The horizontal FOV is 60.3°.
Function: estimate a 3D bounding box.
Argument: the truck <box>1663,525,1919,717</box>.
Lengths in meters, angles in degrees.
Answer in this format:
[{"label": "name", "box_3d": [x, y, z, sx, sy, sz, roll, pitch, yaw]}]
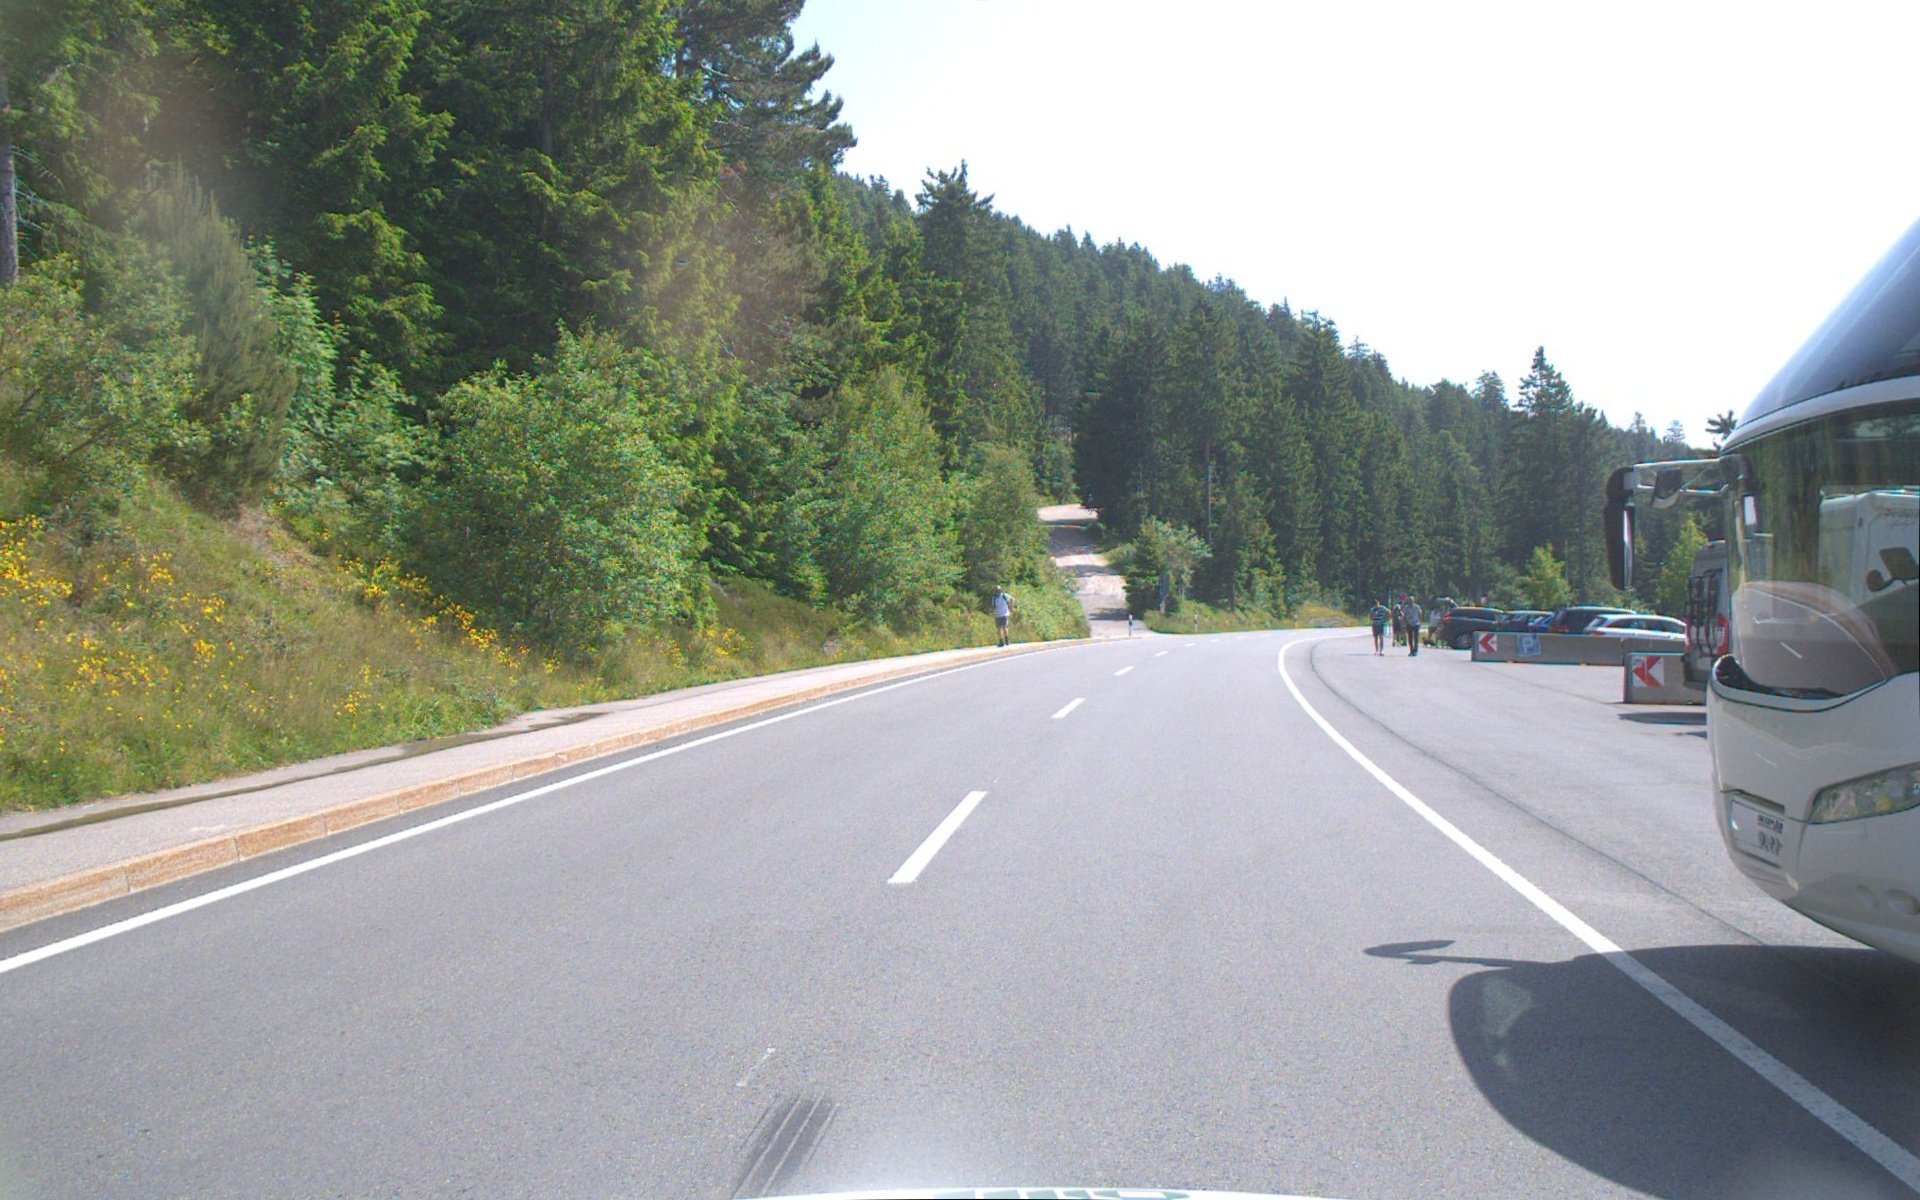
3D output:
[{"label": "truck", "box_3d": [13.662, 0.281, 23.853, 6.127, 2.636, 2.342, 0, 0, 10]}]

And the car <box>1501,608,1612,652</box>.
[{"label": "car", "box_3d": [22.643, 1.117, 62.861, 3.673, 1.595, 1.601, 1, 0, 4]}]

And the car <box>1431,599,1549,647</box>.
[{"label": "car", "box_3d": [21.036, 0.901, 65.778, 4.173, 1.825, 1.893, 1, 0, 8]}]

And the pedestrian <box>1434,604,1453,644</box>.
[{"label": "pedestrian", "box_3d": [20.088, 1.003, 68.703, 0.605, 1.615, 0.734, 0, 1, 30]}]

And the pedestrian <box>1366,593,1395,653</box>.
[{"label": "pedestrian", "box_3d": [12.841, 0.691, 50.472, 0.738, 1.791, 0.775, 0, 0, 24]}]

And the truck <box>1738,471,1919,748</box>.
[{"label": "truck", "box_3d": [13.161, 0.115, 20.426, 5.934, 3.252, 2.534, 0, 0, 8]}]

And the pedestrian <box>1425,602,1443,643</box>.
[{"label": "pedestrian", "box_3d": [19.989, 0.951, 69.805, 0.639, 1.689, 0.687, 0, 1, 23]}]

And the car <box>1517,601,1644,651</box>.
[{"label": "car", "box_3d": [22.204, 0.915, 59.292, 3.902, 1.562, 1.809, 1, 3, 7]}]

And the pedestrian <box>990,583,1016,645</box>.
[{"label": "pedestrian", "box_3d": [1.244, 0.397, 47.773, 0.668, 1.777, 0.826, 1, 0, 5]}]

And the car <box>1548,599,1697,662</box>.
[{"label": "car", "box_3d": [20.244, 0.920, 50.678, 3.903, 1.675, 1.601, 3, 0, 7]}]

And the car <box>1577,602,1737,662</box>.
[{"label": "car", "box_3d": [20.132, 0.896, 47.888, 3.902, 1.502, 1.775, 3, 0, 8]}]

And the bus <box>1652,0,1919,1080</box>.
[{"label": "bus", "box_3d": [9.255, -0.323, 5.419, 12.571, 3.640, 2.841, 0, 0, 11]}]

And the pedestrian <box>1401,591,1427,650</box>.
[{"label": "pedestrian", "box_3d": [13.735, 0.618, 50.030, 0.651, 1.771, 0.894, 0, 0, 24]}]
